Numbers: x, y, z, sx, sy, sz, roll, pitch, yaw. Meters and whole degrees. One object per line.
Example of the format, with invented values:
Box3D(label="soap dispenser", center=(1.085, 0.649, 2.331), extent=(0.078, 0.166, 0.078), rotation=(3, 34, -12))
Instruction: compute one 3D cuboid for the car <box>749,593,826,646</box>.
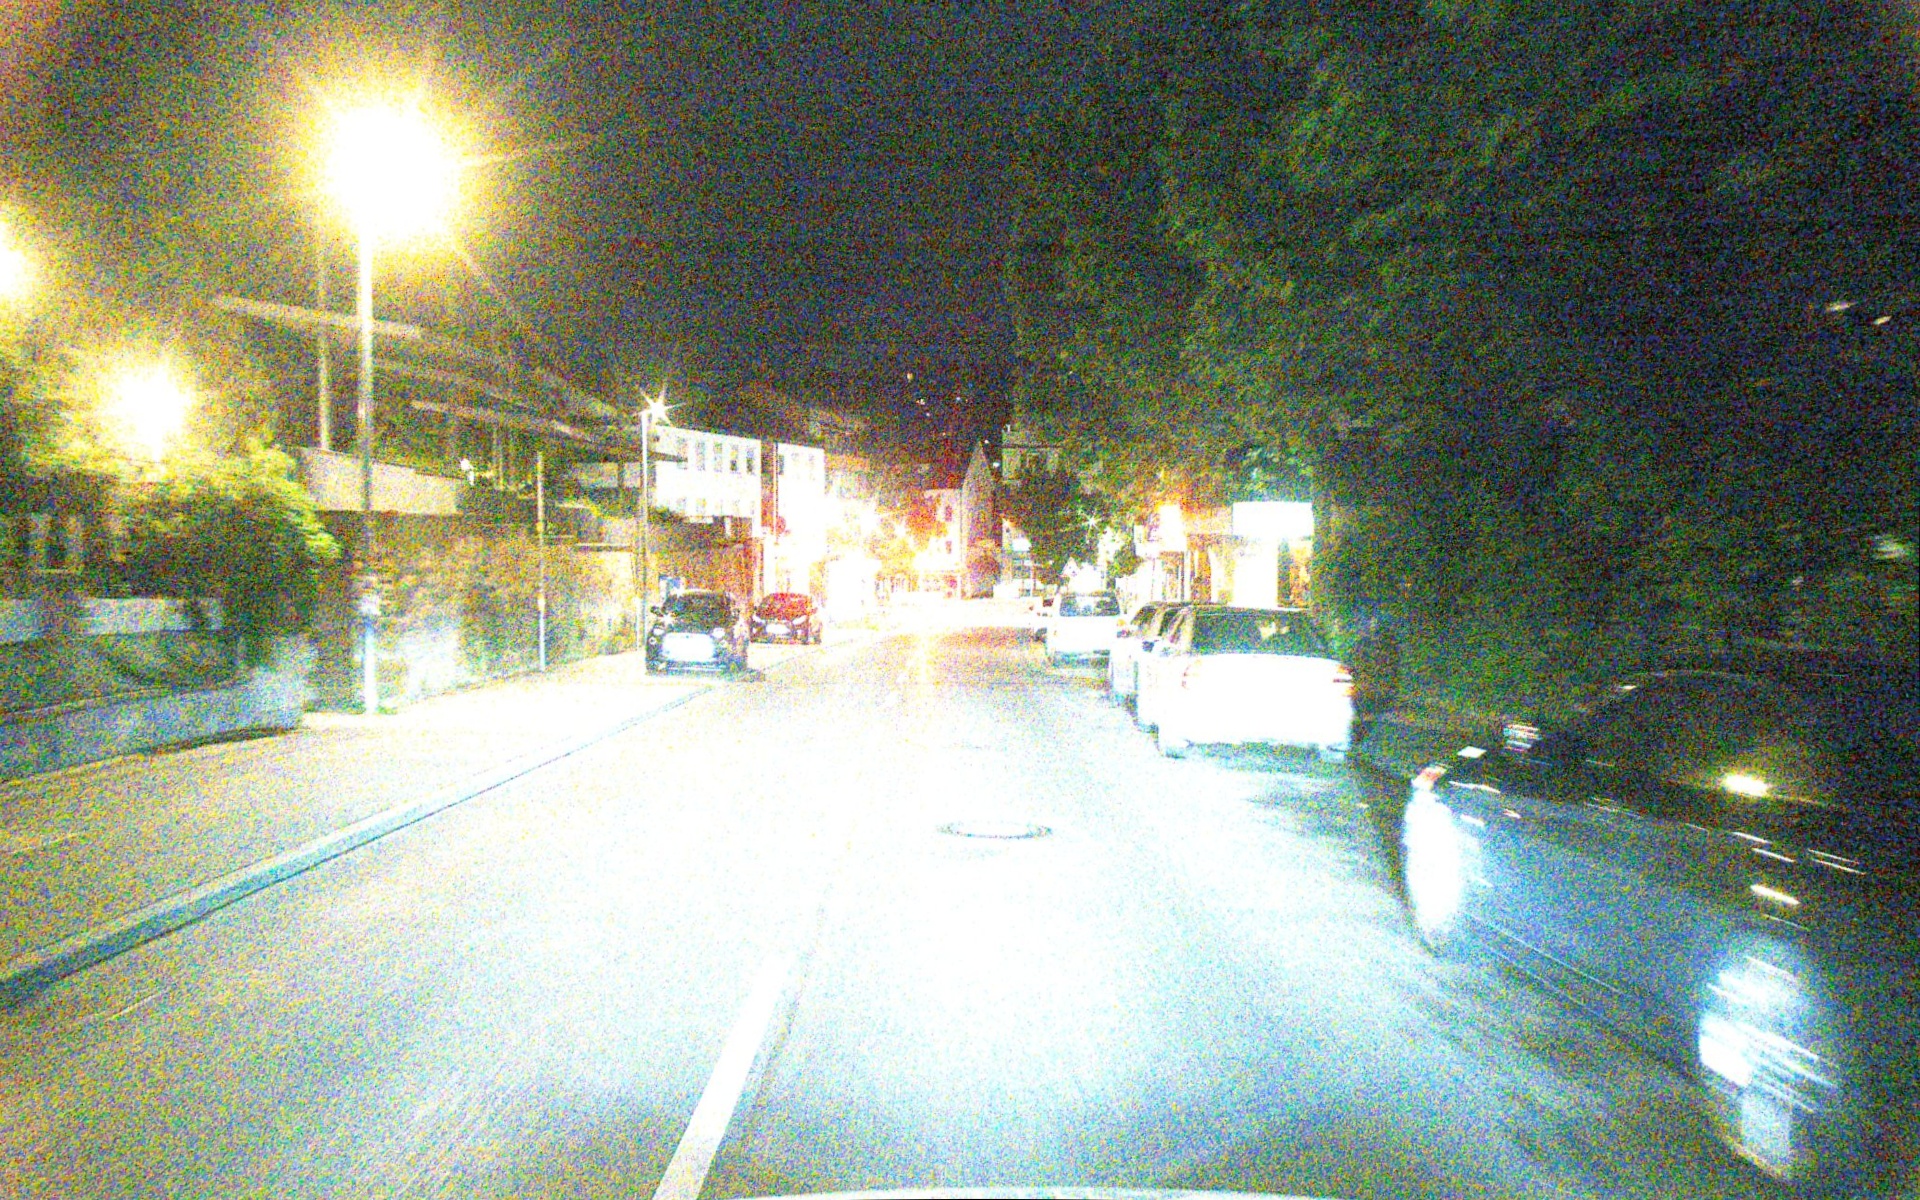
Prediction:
Box3D(label="car", center=(-5.093, 0.543, 49.292), extent=(1.656, 1.462, 4.129), rotation=(2, 0, 3))

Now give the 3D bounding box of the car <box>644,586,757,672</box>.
Box3D(label="car", center=(-4.977, 0.555, 32.148), extent=(1.657, 1.550, 3.690), rotation=(1, -1, -1))

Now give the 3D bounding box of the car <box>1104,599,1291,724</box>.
Box3D(label="car", center=(3.069, 0.750, 22.200), extent=(1.744, 1.462, 4.288), rotation=(2, 0, -2))

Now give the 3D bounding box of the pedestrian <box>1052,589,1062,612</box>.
Box3D(label="pedestrian", center=(7.623, 0.021, 130.325), extent=(0.700, 1.827, 0.570), rotation=(1, -1, 12))

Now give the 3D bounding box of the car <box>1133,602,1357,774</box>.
Box3D(label="car", center=(2.776, 0.786, 17.023), extent=(1.642, 1.472, 4.612), rotation=(2, 0, 2))

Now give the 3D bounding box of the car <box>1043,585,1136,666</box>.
Box3D(label="car", center=(2.845, 0.536, 37.240), extent=(1.750, 1.670, 4.380), rotation=(-2, 0, 1))

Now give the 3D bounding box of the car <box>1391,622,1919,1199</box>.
Box3D(label="car", center=(2.970, 0.844, 5.568), extent=(1.726, 1.440, 4.438), rotation=(1, 0, -2))

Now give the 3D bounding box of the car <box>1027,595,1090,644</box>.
Box3D(label="car", center=(3.134, 0.610, 53.443), extent=(1.819, 1.467, 4.595), rotation=(-2, 0, 1))
